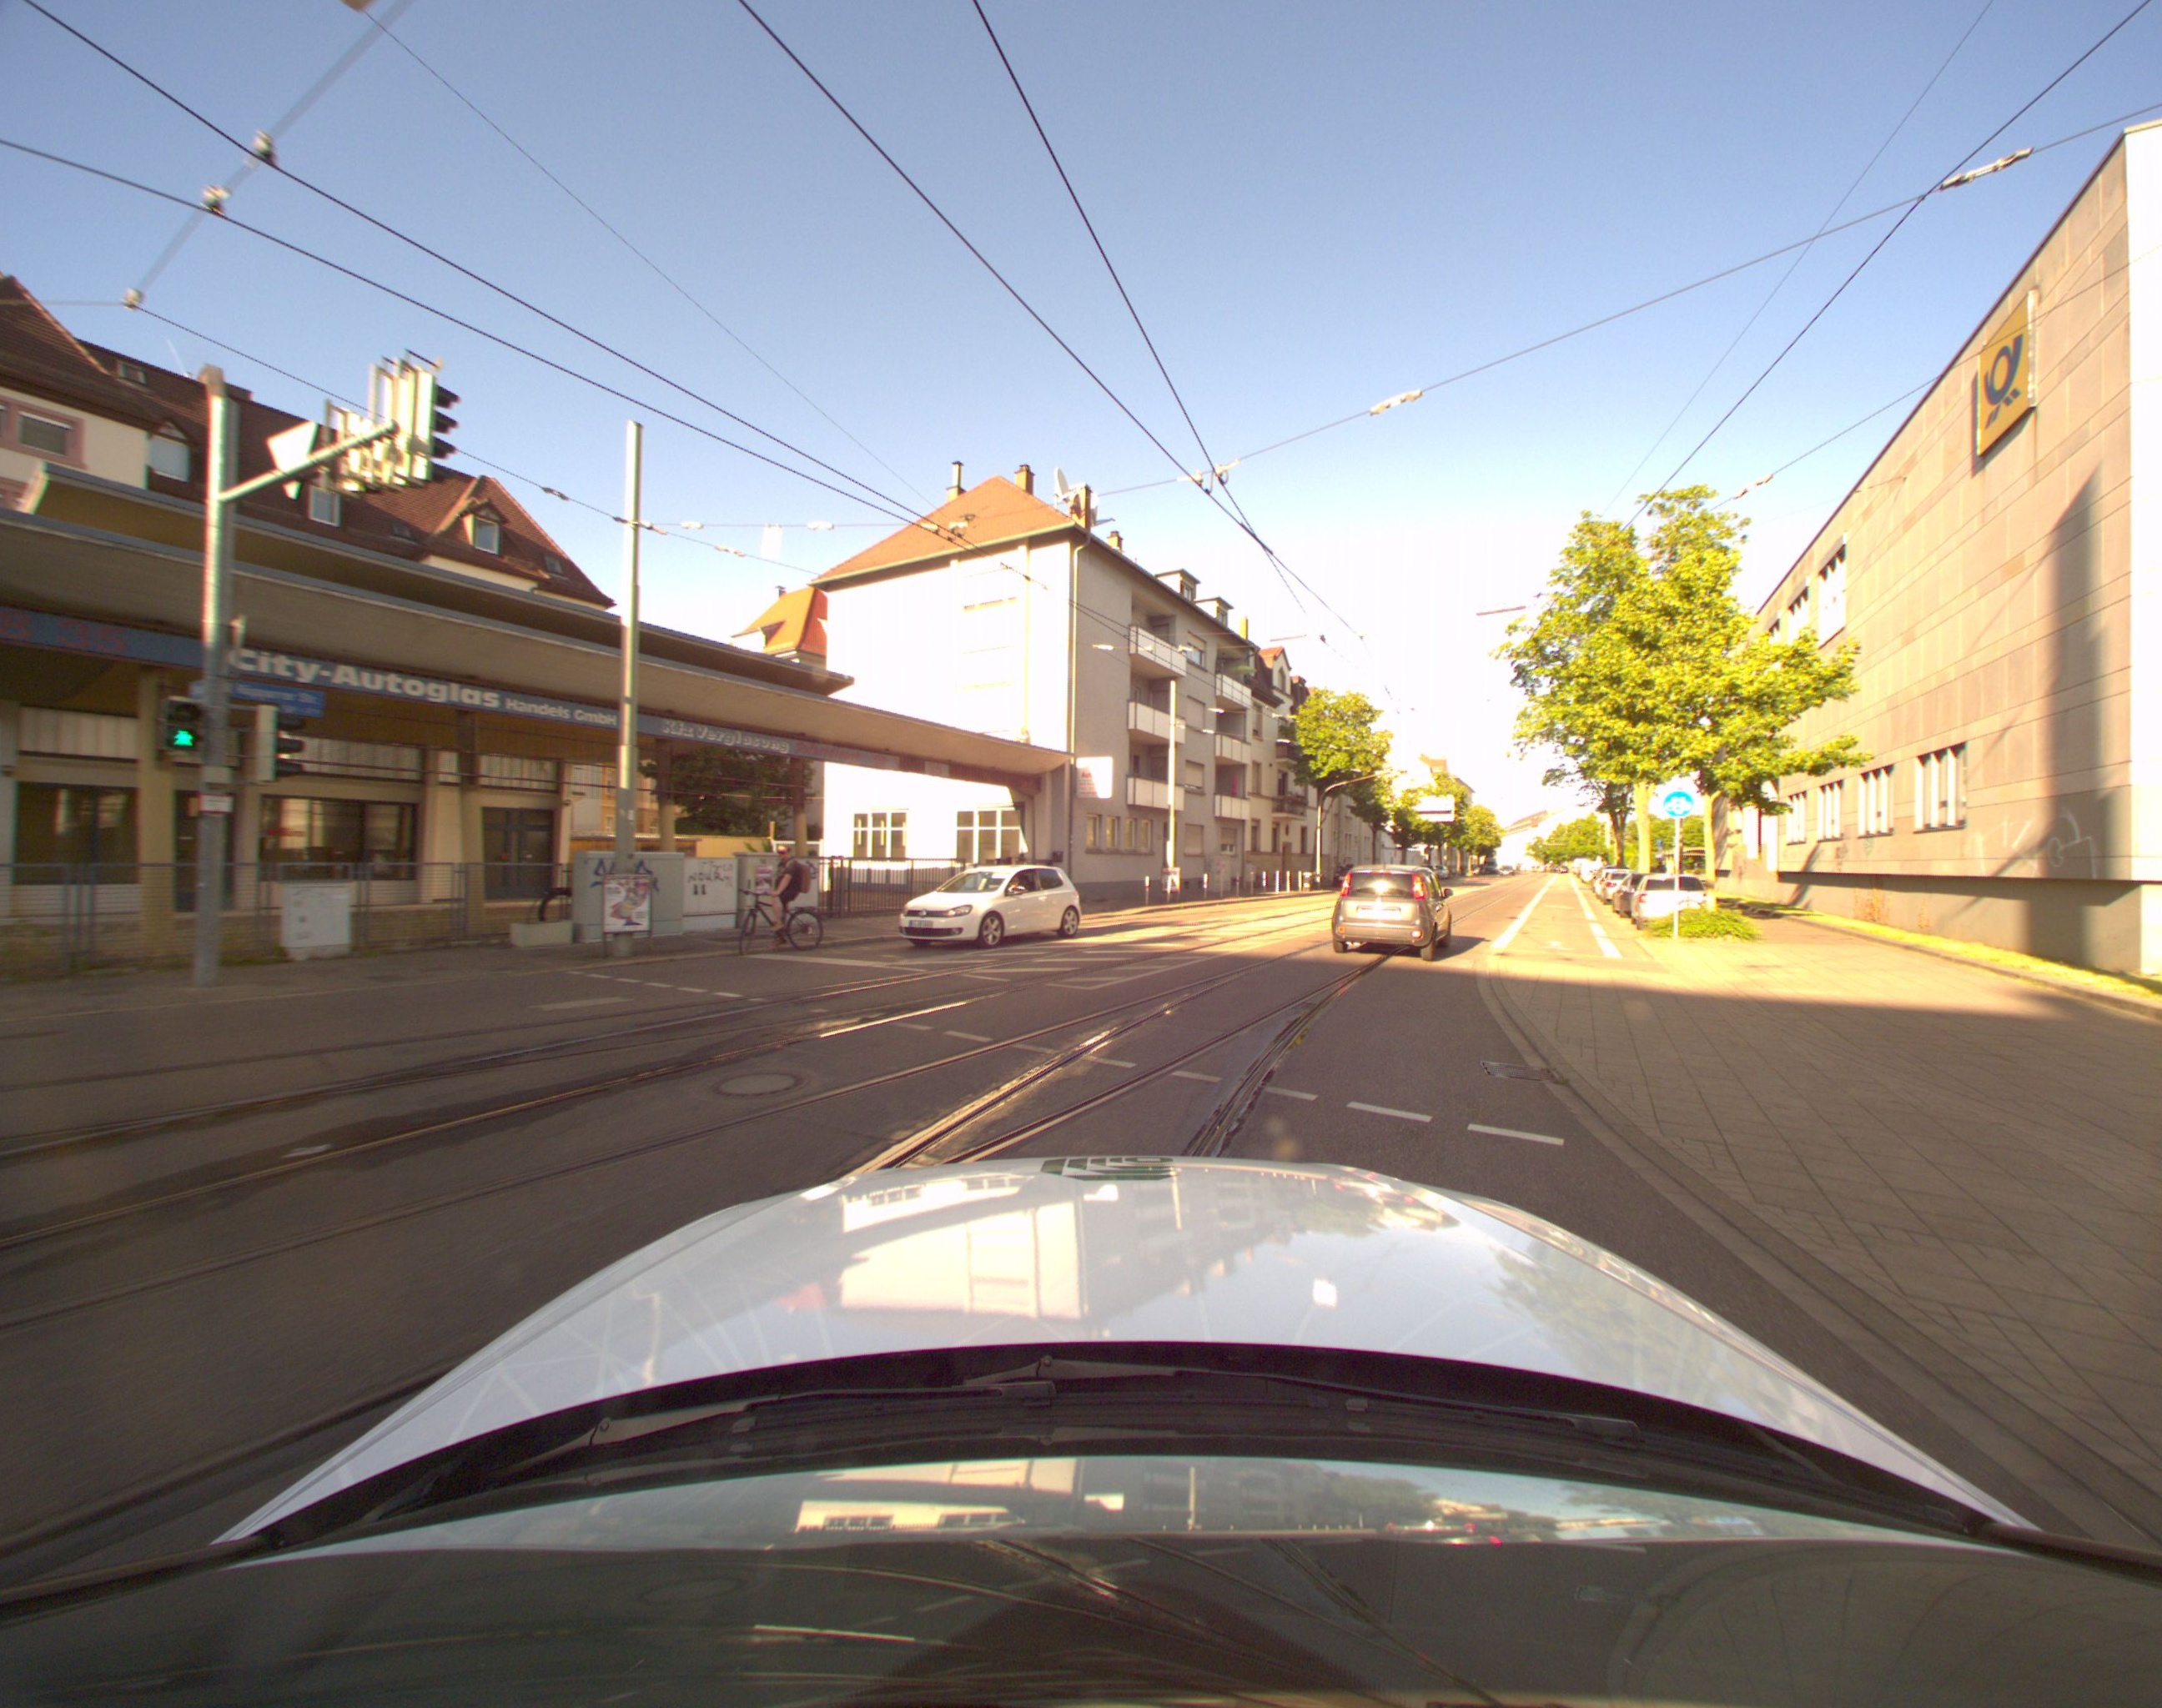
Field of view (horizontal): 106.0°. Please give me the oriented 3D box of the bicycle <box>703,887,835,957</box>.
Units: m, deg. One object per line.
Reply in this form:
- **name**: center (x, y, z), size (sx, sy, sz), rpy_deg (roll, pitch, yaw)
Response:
- **bicycle**: center (-5.178, 1.097, 13.657), size (0.718, 1.017, 2.061), rpy_deg (0, -1, 31)

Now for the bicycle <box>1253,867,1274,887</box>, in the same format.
- **bicycle**: center (9.872, 1.221, 43.960), size (0.501, 1.007, 2.032), rpy_deg (0, -1, 31)

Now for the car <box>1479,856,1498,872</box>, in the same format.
- **car**: center (65.554, 1.623, 130.940), size (2.311, 2.569, 5.707), rpy_deg (0, -1, 31)

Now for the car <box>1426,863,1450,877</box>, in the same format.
- **car**: center (37.269, 1.609, 84.972), size (1.937, 1.420, 4.213), rpy_deg (0, -1, 29)

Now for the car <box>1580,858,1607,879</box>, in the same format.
- **car**: center (48.396, 1.357, 76.979), size (1.937, 1.905, 4.213), rpy_deg (0, -1, 29)

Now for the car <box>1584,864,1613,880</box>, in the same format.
- **car**: center (46.089, 1.551, 72.597), size (1.896, 1.375, 4.213), rpy_deg (0, -1, 29)

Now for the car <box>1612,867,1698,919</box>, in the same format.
- **car**: center (18.674, 1.201, 26.688), size (1.822, 1.490, 4.671), rpy_deg (0, -1, 29)

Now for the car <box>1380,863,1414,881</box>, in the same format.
- **car**: center (25.378, 1.407, 65.323), size (1.937, 1.420, 4.213), rpy_deg (0, -1, 29)

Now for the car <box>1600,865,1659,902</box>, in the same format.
- **car**: center (23.019, 1.190, 34.274), size (1.805, 1.464, 4.182), rpy_deg (0, 0, 31)

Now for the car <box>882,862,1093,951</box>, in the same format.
- **car**: center (-1.621, 0.895, 15.581), size (1.773, 1.458, 4.216), rpy_deg (-1, -1, 31)

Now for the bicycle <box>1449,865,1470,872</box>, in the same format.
- **bicycle**: center (46.056, 1.765, 99.121), size (0.792, 0.930, 2.307), rpy_deg (0, -1, -23)

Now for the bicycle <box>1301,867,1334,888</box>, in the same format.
- **bicycle**: center (12.480, 1.231, 43.019), size (1.603, 1.044, 0.458), rpy_deg (2, -1, -1)

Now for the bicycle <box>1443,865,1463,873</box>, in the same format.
- **bicycle**: center (45.100, 1.758, 98.660), size (0.792, 0.930, 2.248), rpy_deg (0, -1, -23)

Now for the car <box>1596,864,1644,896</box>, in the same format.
- **car**: center (26.022, 1.204, 39.443), size (1.729, 1.458, 4.647), rpy_deg (0, -1, 31)

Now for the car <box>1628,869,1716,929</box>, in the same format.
- **car**: center (16.099, 1.161, 22.352), size (1.626, 1.455, 3.939), rpy_deg (0, -1, 31)

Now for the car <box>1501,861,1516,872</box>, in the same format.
- **car**: center (59.600, 1.715, 113.495), size (1.764, 1.492, 4.213), rpy_deg (1, 0, 29)

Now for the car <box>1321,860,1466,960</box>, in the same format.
- **car**: center (5.721, 0.893, 14.613), size (1.714, 1.500, 4.025), rpy_deg (0, -1, 31)

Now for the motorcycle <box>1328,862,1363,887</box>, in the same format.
- **motorcycle**: center (16.546, 1.238, 50.902), size (1.444, 1.481, 3.121), rpy_deg (0, -1, 30)

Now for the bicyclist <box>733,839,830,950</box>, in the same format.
- **bicyclist**: center (-5.065, 0.648, 13.846), size (0.900, 1.787, 1.260), rpy_deg (0, -1, 26)

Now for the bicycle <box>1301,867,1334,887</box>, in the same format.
- **bicycle**: center (12.999, 1.251, 44.756), size (1.695, 1.033, 0.445), rpy_deg (2, -1, 10)

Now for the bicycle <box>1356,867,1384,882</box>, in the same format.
- **bicycle**: center (20.392, 1.456, 57.502), size (1.733, 1.023, 0.611), rpy_deg (2, -1, 11)

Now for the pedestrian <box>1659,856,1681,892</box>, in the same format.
- **pedestrian**: center (33.655, 1.147, 46.575), size (0.959, 2.014, 1.031), rpy_deg (0, -1, 32)

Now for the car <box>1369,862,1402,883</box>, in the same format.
- **car**: center (22.744, 1.337, 60.754), size (1.780, 1.486, 4.024), rpy_deg (0, -1, 29)
